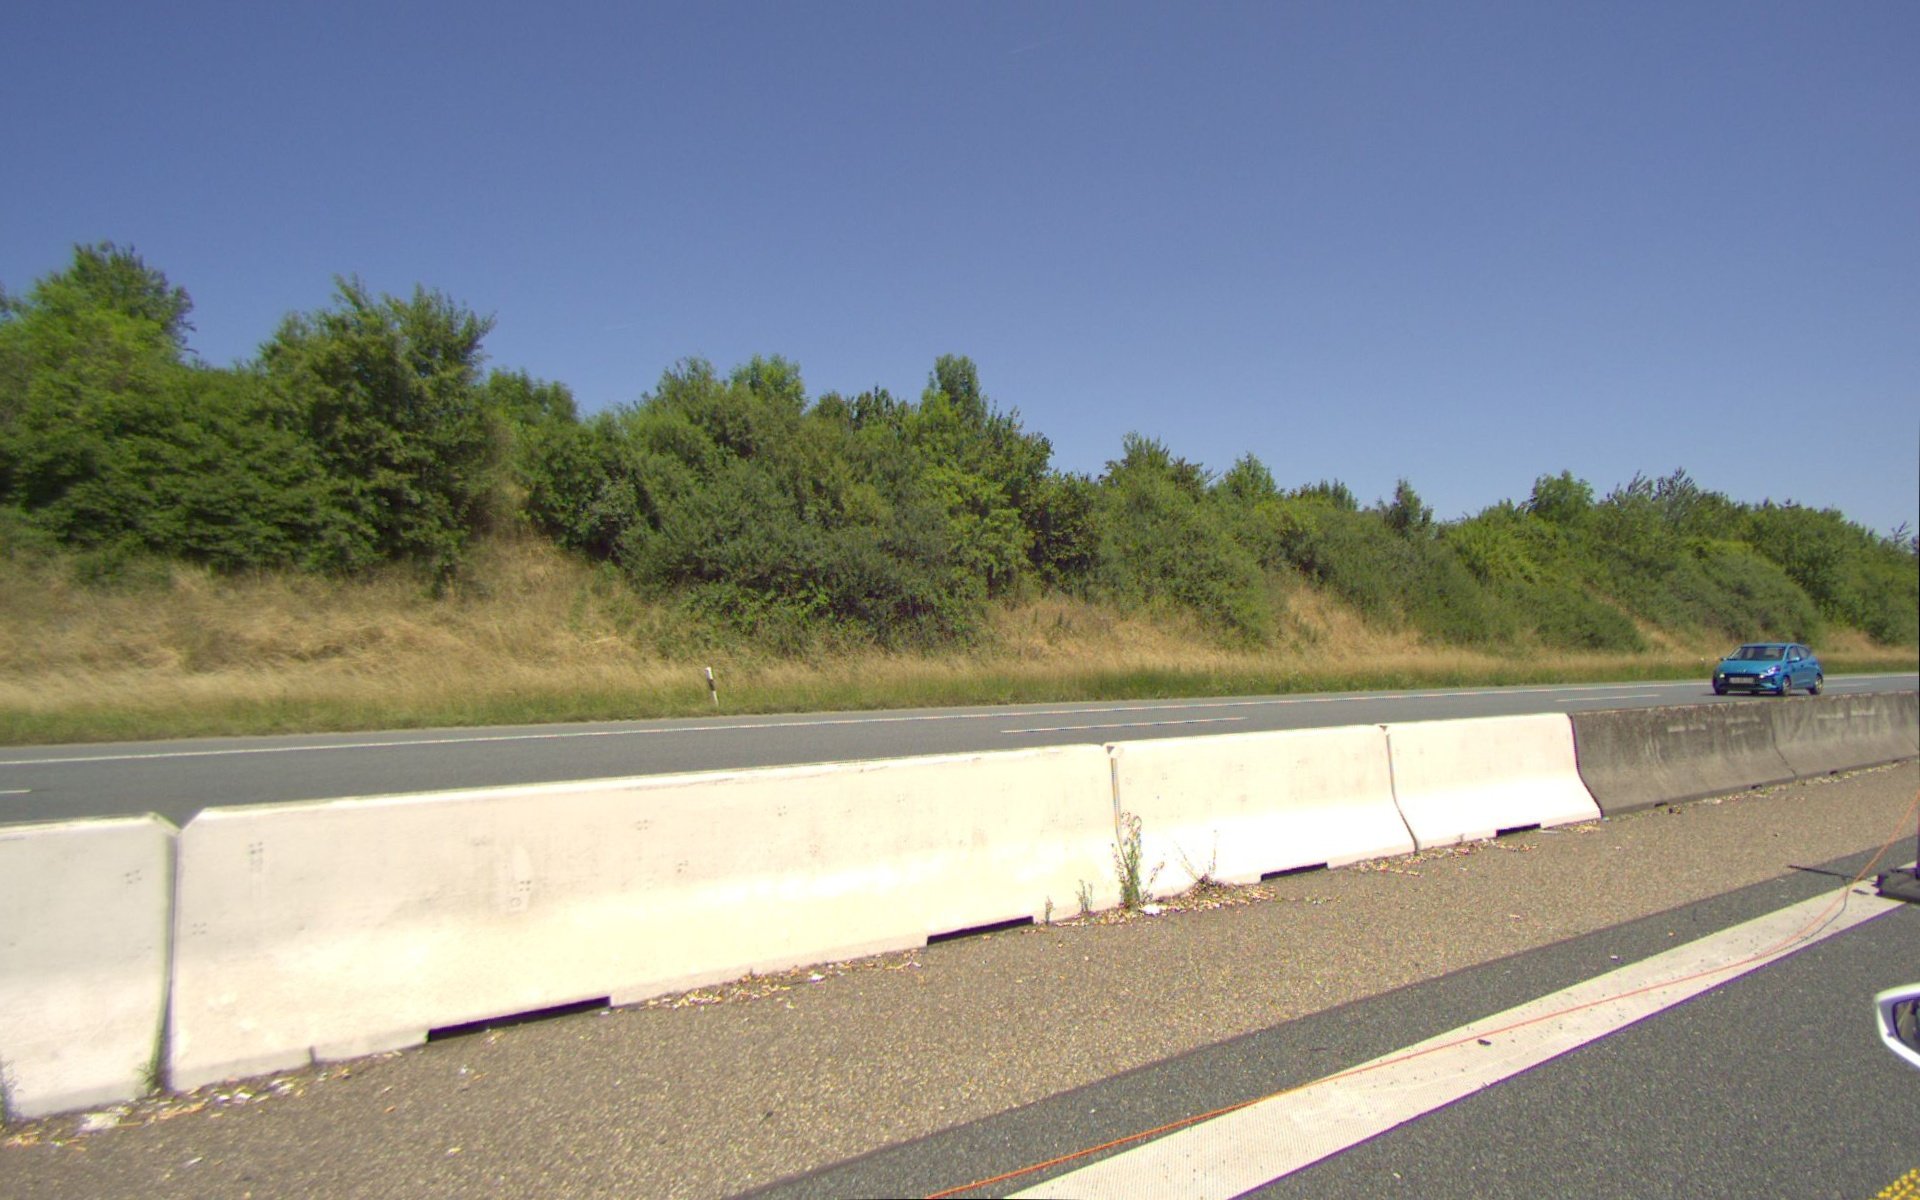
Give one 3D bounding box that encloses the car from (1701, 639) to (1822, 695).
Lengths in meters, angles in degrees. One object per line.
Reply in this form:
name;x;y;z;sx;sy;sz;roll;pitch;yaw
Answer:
car;23.430;1.921;29.334;3.446;1.537;1.877;2;-4;-36
